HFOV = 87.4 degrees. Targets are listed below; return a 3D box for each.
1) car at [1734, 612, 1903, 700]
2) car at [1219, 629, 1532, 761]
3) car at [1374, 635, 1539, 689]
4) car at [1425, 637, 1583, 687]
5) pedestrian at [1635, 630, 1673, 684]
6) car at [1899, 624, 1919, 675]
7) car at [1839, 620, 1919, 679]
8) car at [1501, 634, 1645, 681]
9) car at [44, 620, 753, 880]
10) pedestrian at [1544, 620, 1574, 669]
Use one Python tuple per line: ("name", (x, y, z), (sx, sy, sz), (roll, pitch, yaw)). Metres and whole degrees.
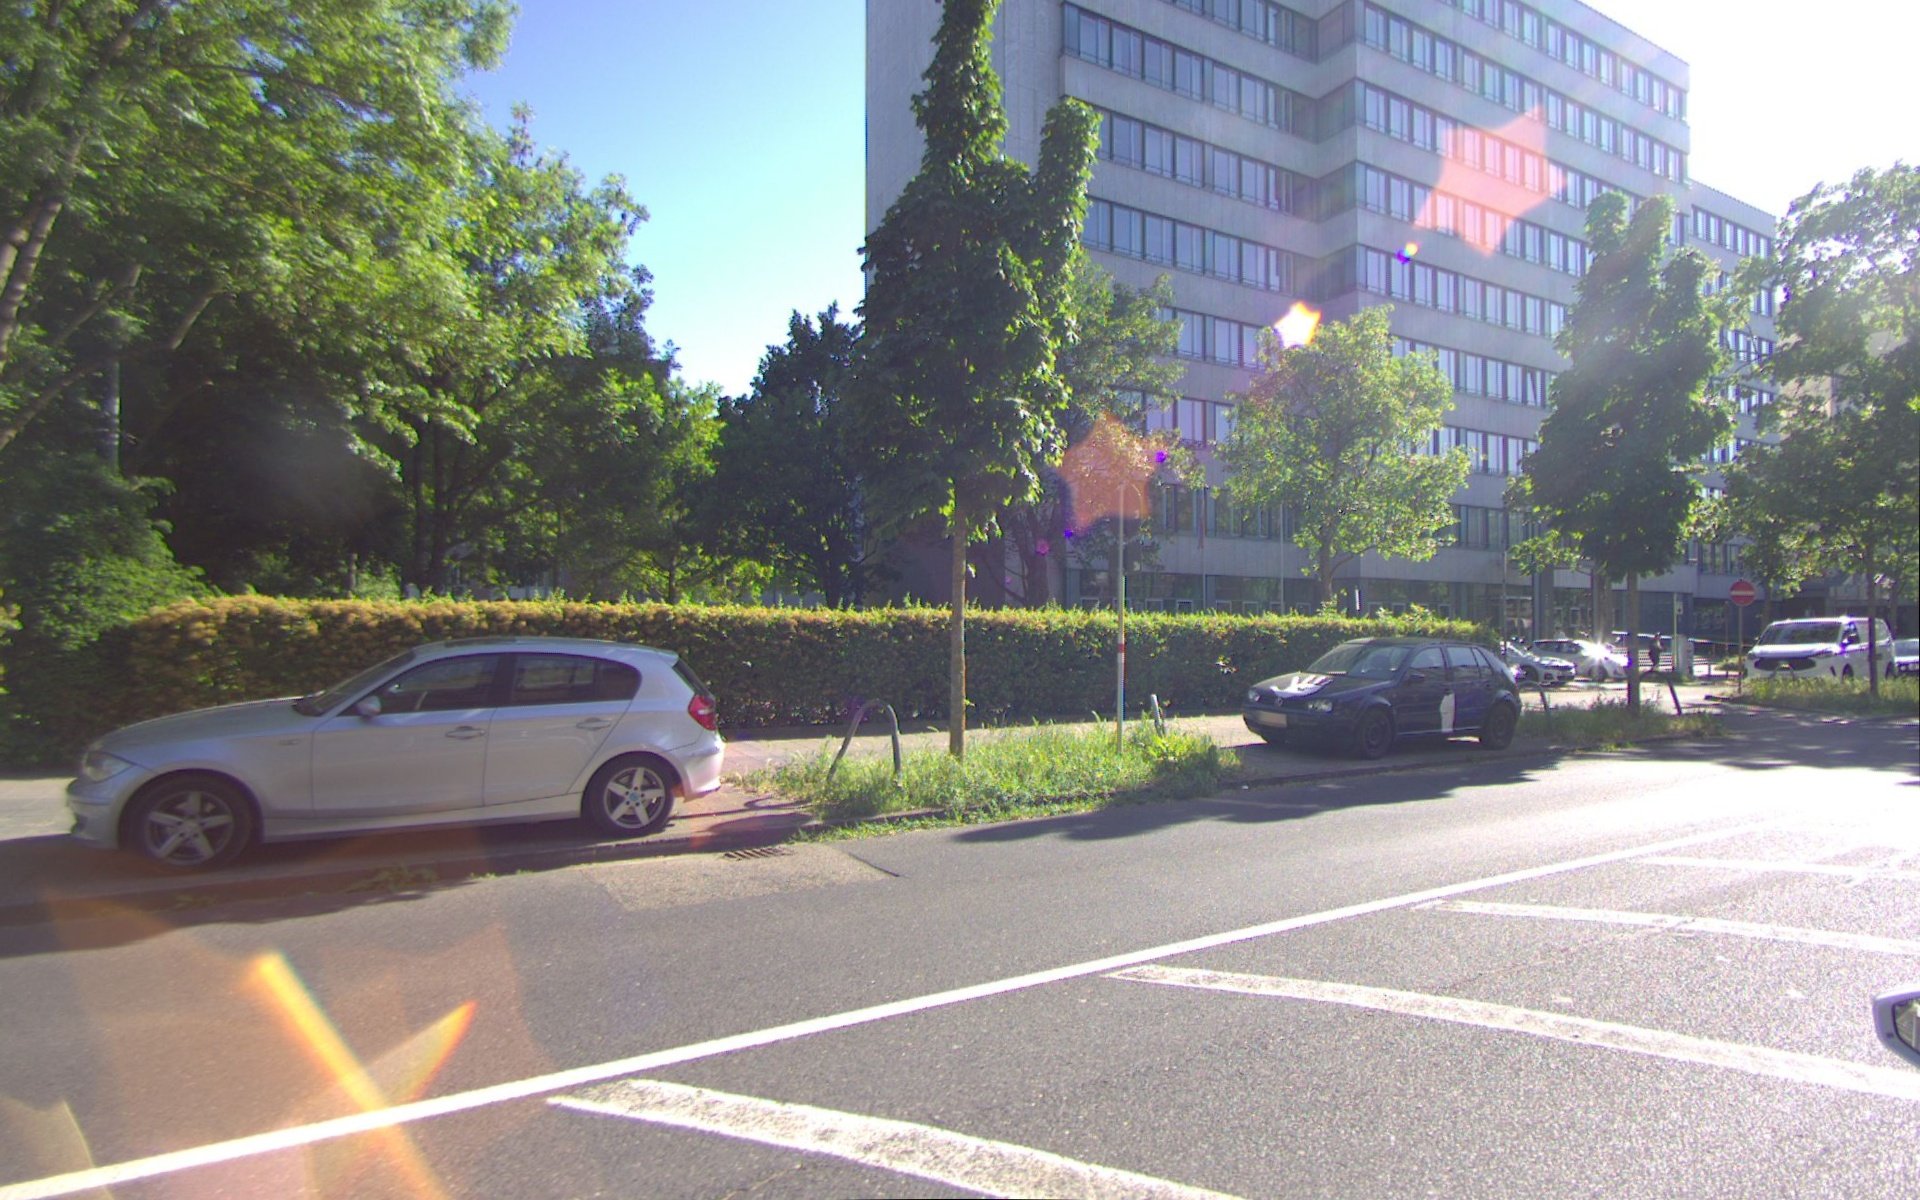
("car", (22.570, 1.454, 26.353), (5.141, 2.103, 1.970), (2, -3, -33))
("car", (5.520, 1.157, 13.264), (4.023, 1.478, 1.704), (1, -1, -29))
("car", (16.215, 1.988, 33.077), (1.982, 1.533, 4.656), (1, -1, -25))
("car", (18.768, 2.101, 34.890), (1.911, 1.462, 4.599), (1, -1, -25))
("pedestrian", (27.161, 2.231, 39.336), (0.996, 2.040, 0.831), (2, 0, -30))
("car", (31.513, 1.566, 31.567), (4.269, 1.543, 1.846), (1, -1, -31))
("car", (27.236, 1.385, 28.752), (4.266, 1.543, 1.774), (1, -1, -29))
("car", (23.094, 2.142, 38.005), (1.842, 1.543, 4.280), (1, -1, -32))
("car", (-3.823, 0.928, 7.504), (4.138, 1.402, 1.681), (1, 2, -28))
("pedestrian", (26.378, 1.943, 44.237), (0.782, 2.121, 0.768), (2, 0, -29))
